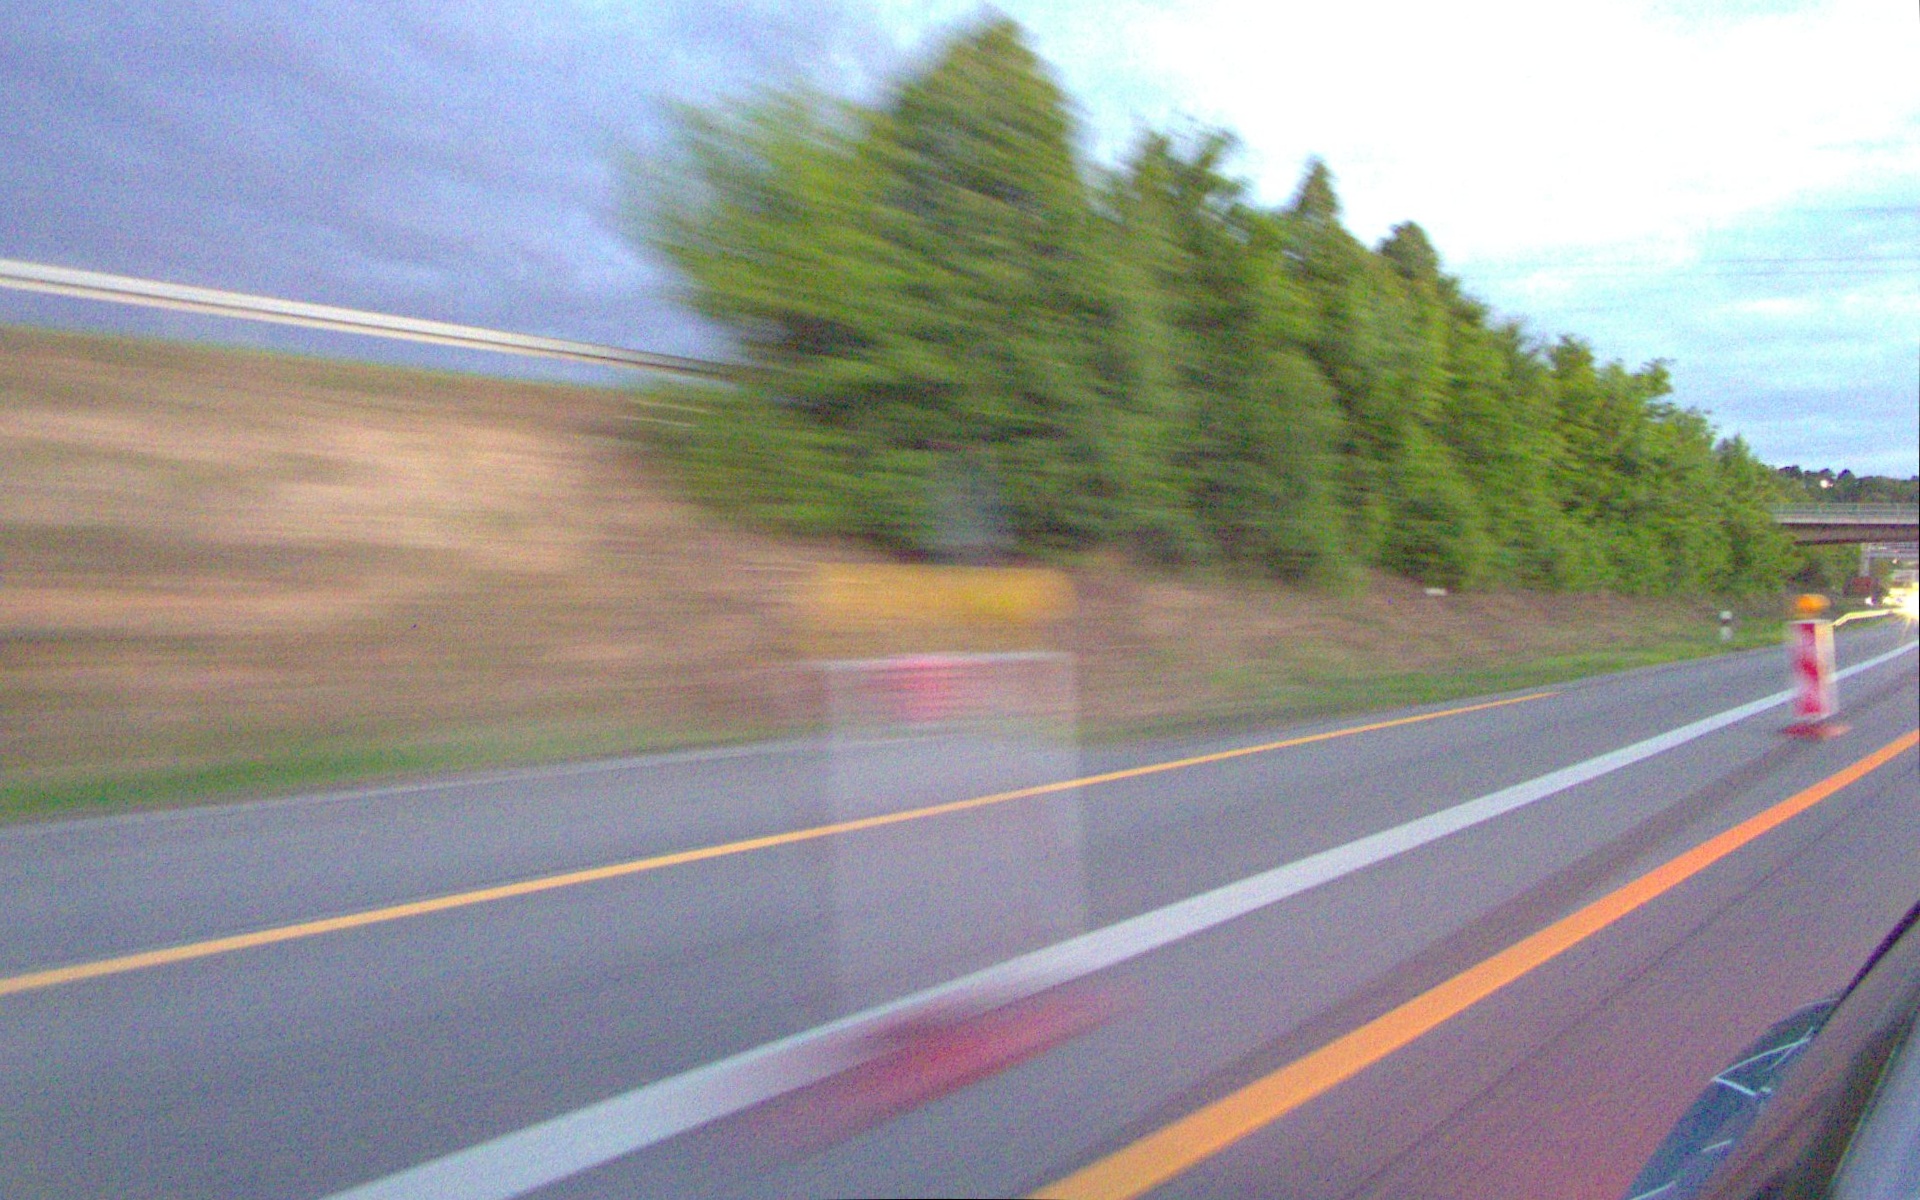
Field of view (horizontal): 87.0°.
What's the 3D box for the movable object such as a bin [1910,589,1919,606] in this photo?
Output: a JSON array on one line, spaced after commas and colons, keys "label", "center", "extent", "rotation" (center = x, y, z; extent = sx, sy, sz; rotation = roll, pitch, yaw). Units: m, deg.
[{"label": "movable object such as a bin", "center": [175.726, -0.409, 185.105], "extent": [2.619, 3.146, 5.719], "rotation": [2, 2, 41]}]
